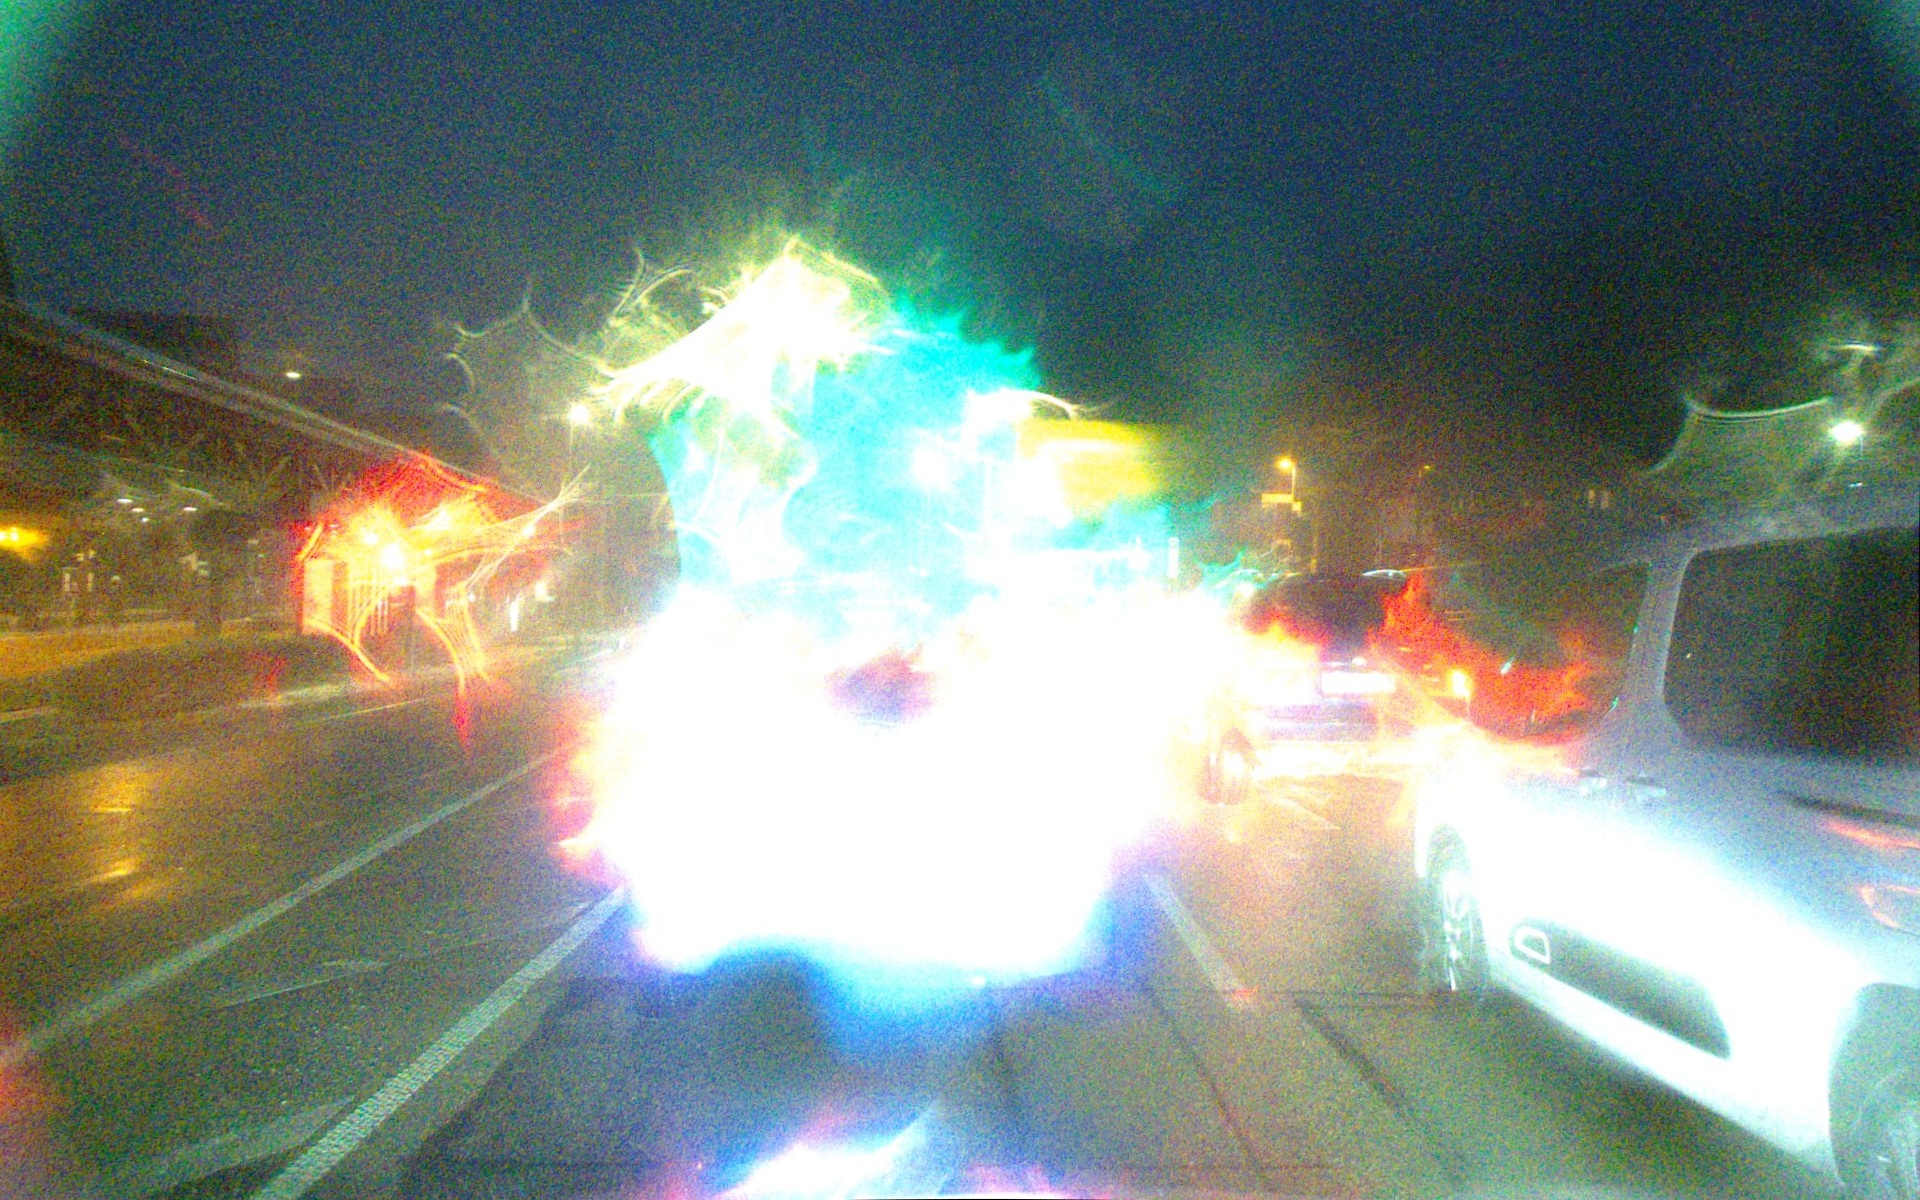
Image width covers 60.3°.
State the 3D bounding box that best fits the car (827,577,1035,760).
[{"bbox_3d":[-0.304,0.666,17.803,1.953,1.713,3.999,1,0,-1],"label":"car"}]

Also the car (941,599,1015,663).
[{"bbox_3d":[0.489,0.896,49.173,1.954,1.804,3.998,1,0,-3],"label":"car"}]

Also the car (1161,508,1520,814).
[{"bbox_3d":[2.884,0.435,13.455,1.929,2.082,3.999,1,0,-1],"label":"car"}]

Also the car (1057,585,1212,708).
[{"bbox_3d":[2.659,0.690,26.127,1.953,1.748,3.999,1,0,-1],"label":"car"}]

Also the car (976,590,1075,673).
[{"bbox_3d":[1.392,0.671,36.585,1.953,1.699,3.999,1,0,-1],"label":"car"}]

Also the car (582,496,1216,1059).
[{"bbox_3d":[-0.235,0.576,7.455,1.974,1.747,4.450,1,0,-1],"label":"car"}]

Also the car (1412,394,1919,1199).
[{"bbox_3d":[2.769,0.565,4.499,1.814,1.897,4.339,1,0,-1],"label":"car"}]

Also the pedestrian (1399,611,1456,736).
[{"bbox_3d":[6.605,1.033,23.373,0.610,1.731,0.540,1,-1,-3],"label":"pedestrian"}]

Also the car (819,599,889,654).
[{"bbox_3d":[-3.824,0.911,59.086,1.958,1.856,3.989,1,0,-11],"label":"car"}]

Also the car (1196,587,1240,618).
[{"bbox_3d":[14.629,0.135,94.019,1.827,1.675,3.963,-2,0,0],"label":"car"}]
